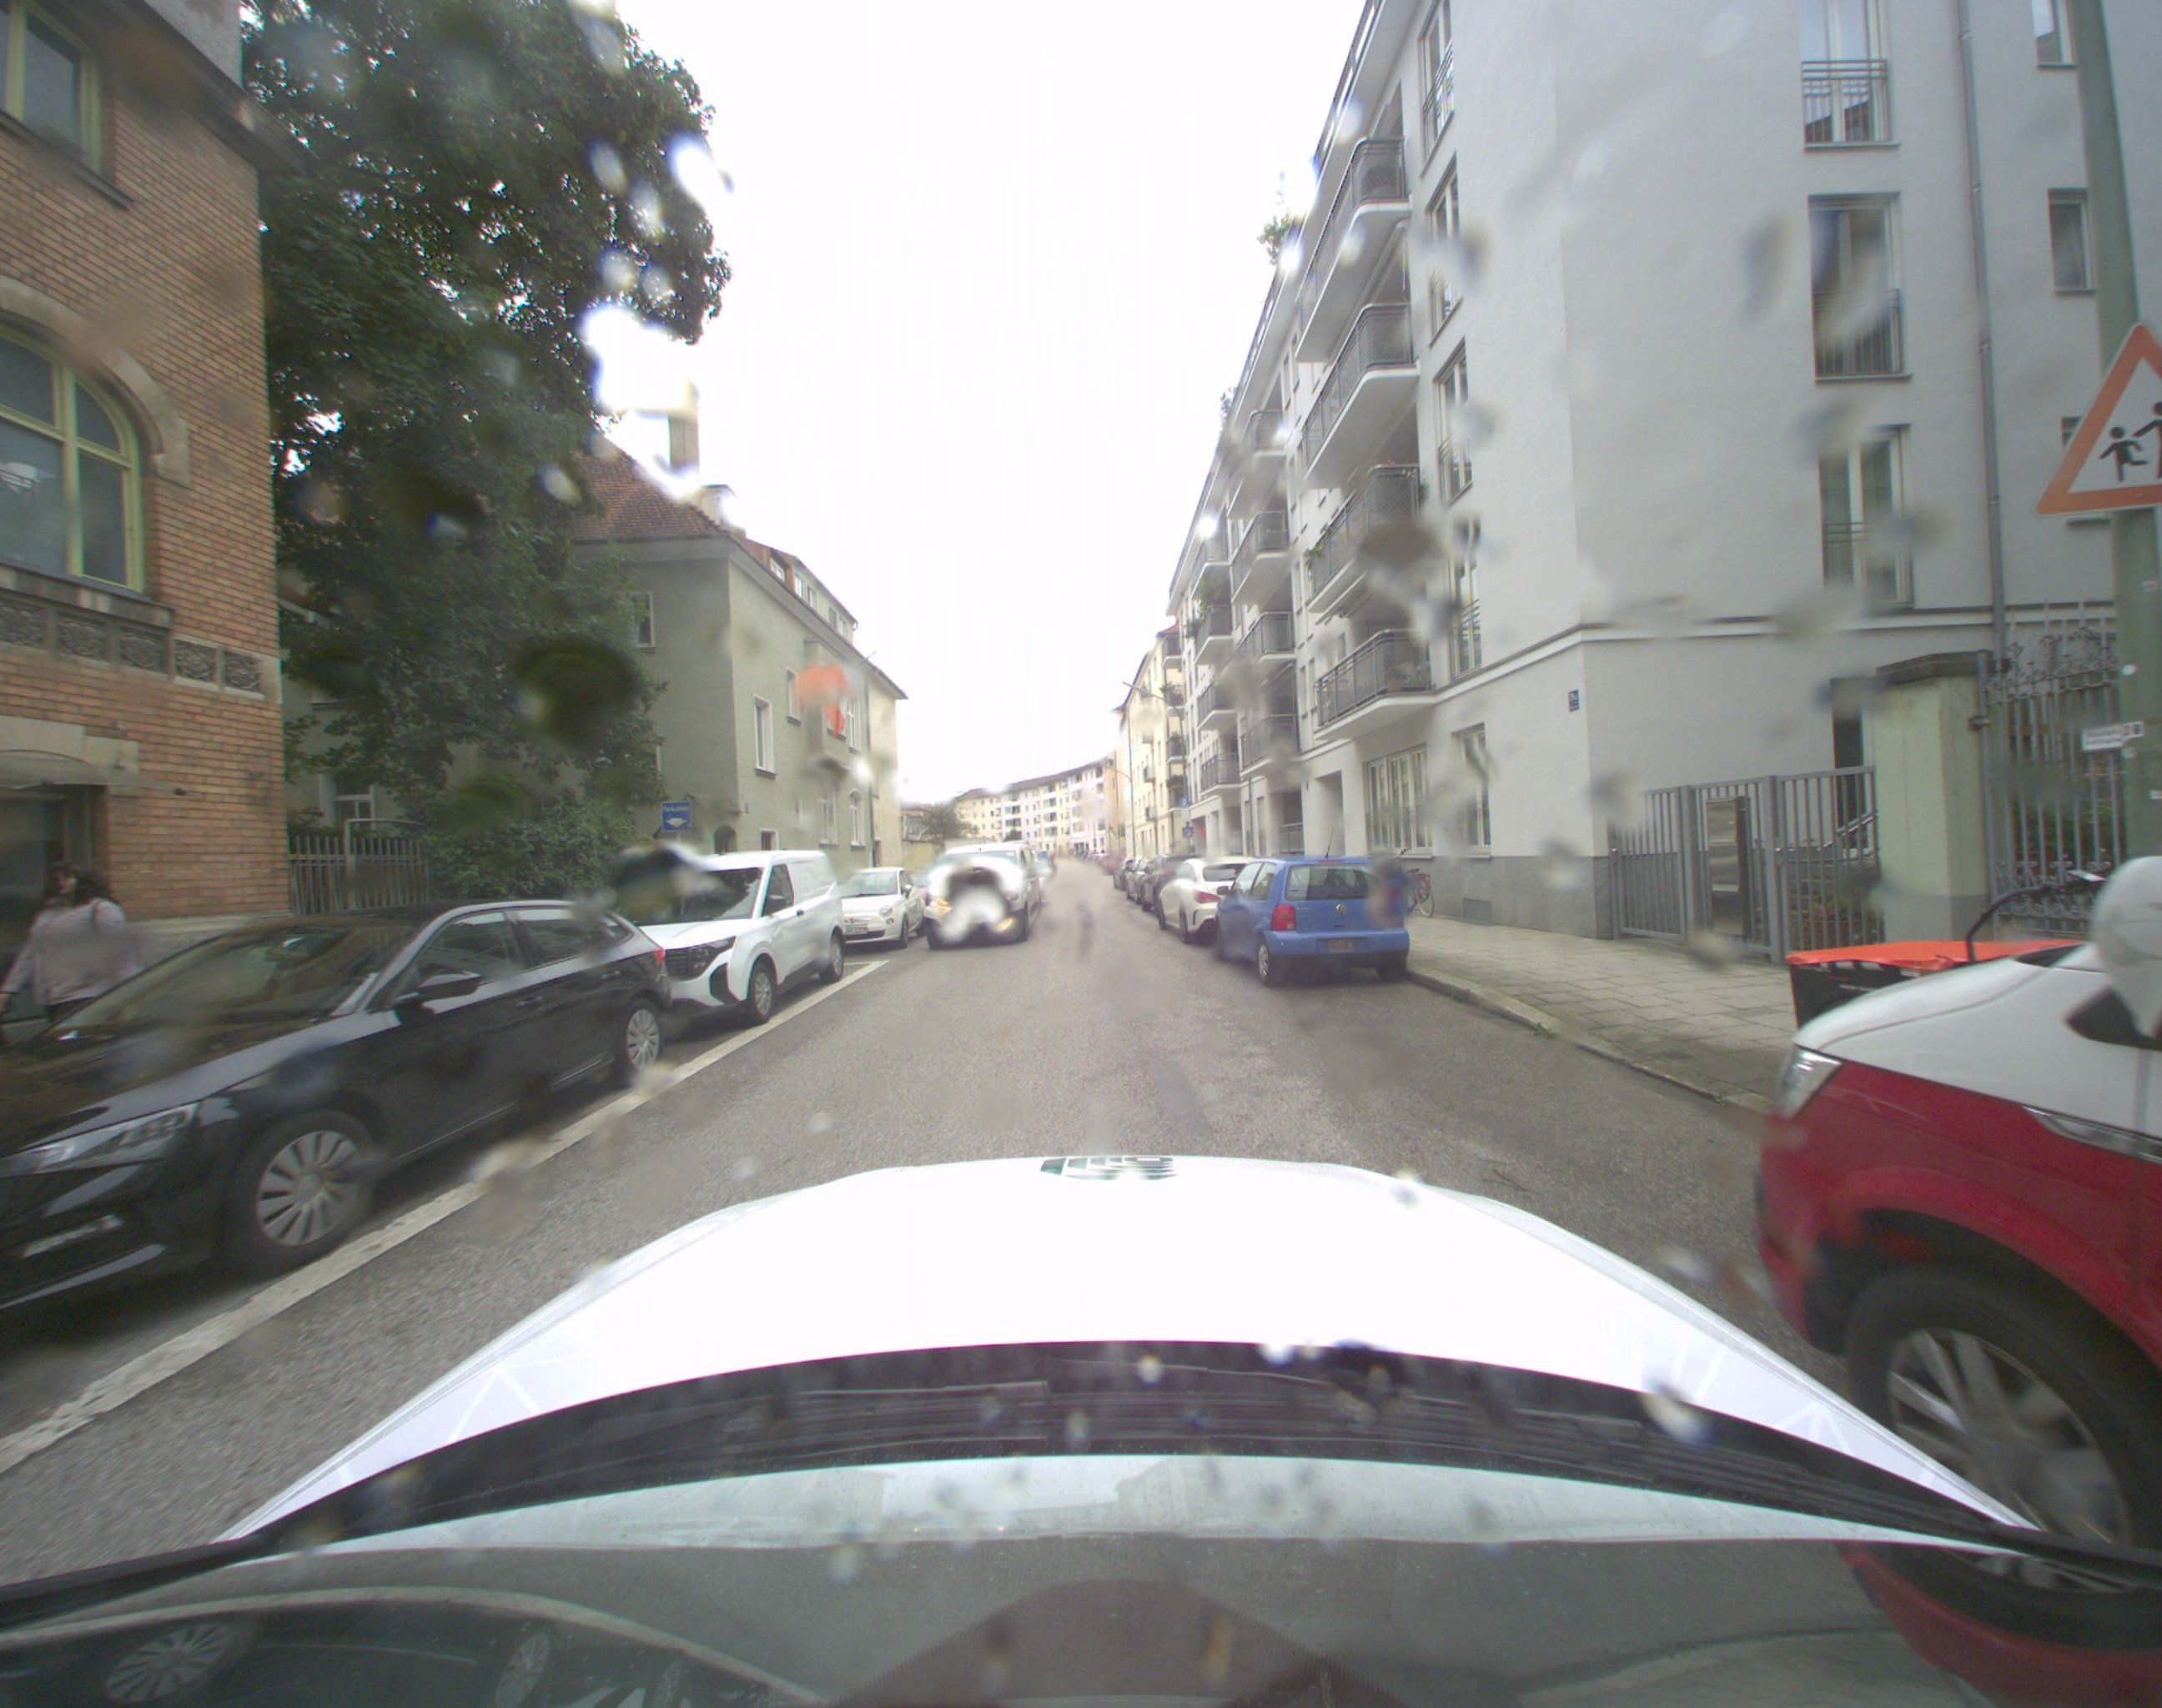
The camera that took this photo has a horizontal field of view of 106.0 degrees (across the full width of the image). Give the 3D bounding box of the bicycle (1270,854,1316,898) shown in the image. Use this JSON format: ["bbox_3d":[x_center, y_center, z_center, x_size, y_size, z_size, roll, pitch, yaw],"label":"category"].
[{"bbox_3d":[6.066,0.607,23.407,0.626,1.160,2.125,-3,0,-3],"label":"bicycle"}]

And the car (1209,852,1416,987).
[{"bbox_3d":[2.729,0.703,10.393,1.614,1.412,3.552,0,-1,-1],"label":"car"}]

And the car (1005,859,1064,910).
[{"bbox_3d":[-1.411,0.916,25.961,1.576,1.411,3.612,-3,-1,0],"label":"car"}]

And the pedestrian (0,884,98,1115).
[{"bbox_3d":[-7.503,0.977,5.557,0.692,1.513,0.728,0,-1,3],"label":"pedestrian"}]

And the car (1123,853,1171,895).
[{"bbox_3d":[2.580,0.750,32.352,1.515,1.530,3.524,-1,0,-1],"label":"car"}]

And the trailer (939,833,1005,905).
[{"bbox_3d":[-4.169,0.530,31.723,1.703,2.461,4.387,-5,0,1],"label":"trailer"}]

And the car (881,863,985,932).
[{"bbox_3d":[-3.593,1.004,20.509,1.856,1.412,4.330,-5,-1,-2],"label":"car"}]

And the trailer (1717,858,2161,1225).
[{"bbox_3d":[4.289,0.664,3.815,0.938,1.184,2.167,-6,0,5],"label":"trailer"}]

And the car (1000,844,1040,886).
[{"bbox_3d":[-4.004,0.666,54.720,2.081,2.636,5.377,-3,1,1],"label":"car"}]

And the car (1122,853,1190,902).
[{"bbox_3d":[2.465,0.727,27.639,1.729,1.530,4.618,0,0,-2],"label":"car"}]

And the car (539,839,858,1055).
[{"bbox_3d":[-3.982,0.828,9.362,1.685,1.803,4.142,-4,0,-2],"label":"car"}]

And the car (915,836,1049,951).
[{"bbox_3d":[-1.751,0.669,15.910,1.764,1.803,4.574,-4,-1,2],"label":"car"}]

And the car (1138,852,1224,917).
[{"bbox_3d":[2.488,0.717,21.089,1.599,1.530,3.981,0,0,-2],"label":"car"}]

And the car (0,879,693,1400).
[{"bbox_3d":[-4.036,0.995,4.543,1.685,1.442,4.144,-4,0,-1],"label":"car"}]

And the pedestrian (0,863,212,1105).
[{"bbox_3d":[-6.607,0.822,5.490,0.692,1.513,0.728,0,-1,3],"label":"pedestrian"}]

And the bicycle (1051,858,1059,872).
[{"bbox_3d":[-2.198,0.927,68.242,0.502,1.128,1.774,-4,0,2],"label":"bicycle"}]

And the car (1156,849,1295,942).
[{"bbox_3d":[2.456,0.649,14.811,1.654,1.440,4.203,0,0,-2],"label":"car"}]

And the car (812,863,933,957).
[{"bbox_3d":[-3.874,0.971,15.602,1.470,1.466,3.311,-4,0,-2],"label":"car"}]

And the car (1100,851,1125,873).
[{"bbox_3d":[2.331,0.569,60.380,1.590,1.509,3.799,-3,0,-1],"label":"car"}]

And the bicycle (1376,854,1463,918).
[{"bbox_3d":[5.943,0.557,14.411,0.675,1.028,1.833,-3,-2,-2],"label":"bicycle"}]

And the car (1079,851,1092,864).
[{"bbox_3d":[0.524,0.423,105.480,1.470,1.641,3.997,-1,0,-2],"label":"car"}]

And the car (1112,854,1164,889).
[{"bbox_3d":[2.495,0.752,36.498,1.759,1.408,4.073,-2,-1,-3],"label":"car"}]

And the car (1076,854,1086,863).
[{"bbox_3d":[-0.012,0.661,116.665,1.269,1.299,2.795,-2,0,-2],"label":"car"}]

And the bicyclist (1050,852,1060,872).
[{"bbox_3d":[-2.201,0.669,68.215,0.691,1.561,0.967,-4,0,2],"label":"bicyclist"}]

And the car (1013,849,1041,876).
[{"bbox_3d":[-4.395,0.651,66.834,1.877,1.931,4.600,-4,0,0],"label":"car"}]
